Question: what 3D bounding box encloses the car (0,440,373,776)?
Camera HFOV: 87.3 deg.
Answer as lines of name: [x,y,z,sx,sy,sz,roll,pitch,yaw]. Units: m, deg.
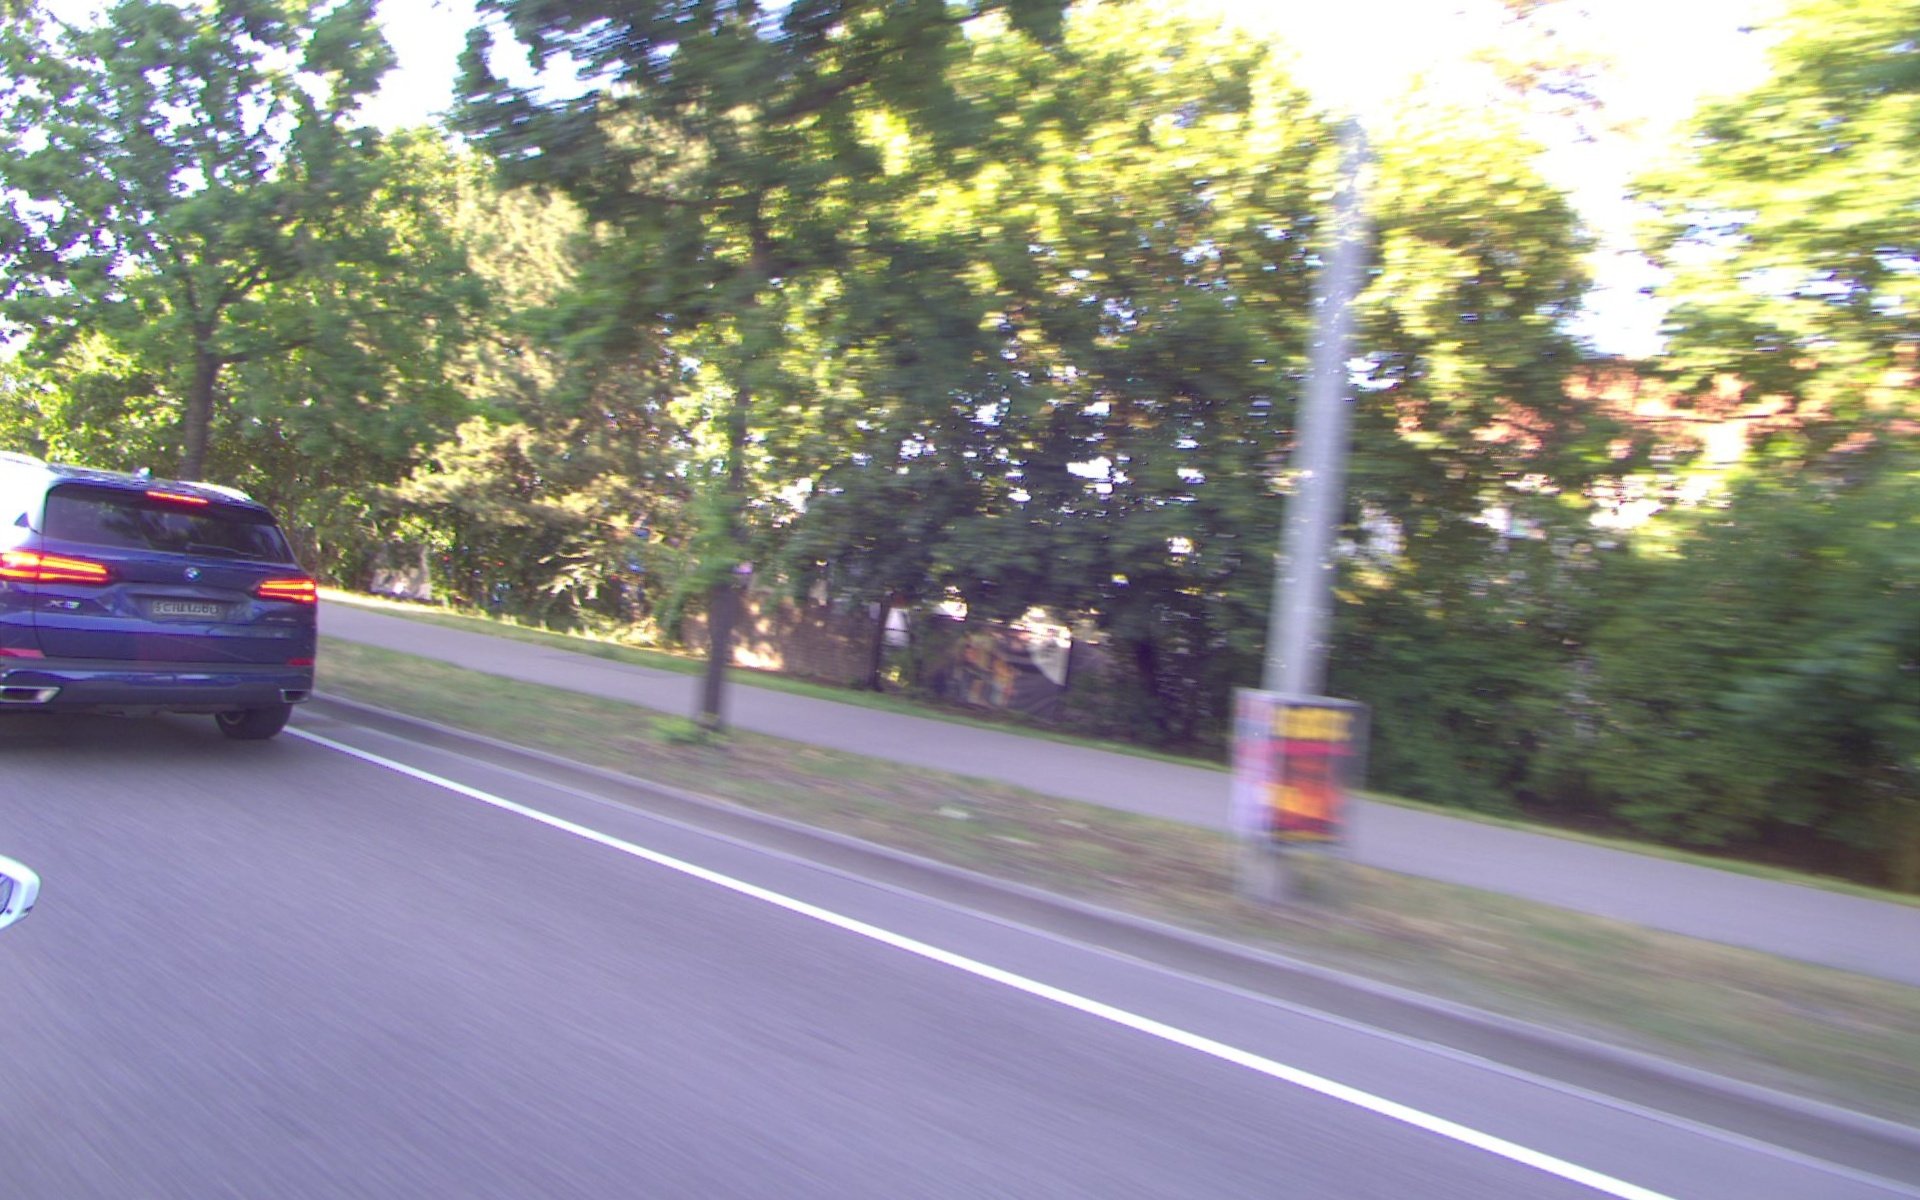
car: [-6.544,-0.066,7.184,4.621,1.747,1.958,6,-2,31]
